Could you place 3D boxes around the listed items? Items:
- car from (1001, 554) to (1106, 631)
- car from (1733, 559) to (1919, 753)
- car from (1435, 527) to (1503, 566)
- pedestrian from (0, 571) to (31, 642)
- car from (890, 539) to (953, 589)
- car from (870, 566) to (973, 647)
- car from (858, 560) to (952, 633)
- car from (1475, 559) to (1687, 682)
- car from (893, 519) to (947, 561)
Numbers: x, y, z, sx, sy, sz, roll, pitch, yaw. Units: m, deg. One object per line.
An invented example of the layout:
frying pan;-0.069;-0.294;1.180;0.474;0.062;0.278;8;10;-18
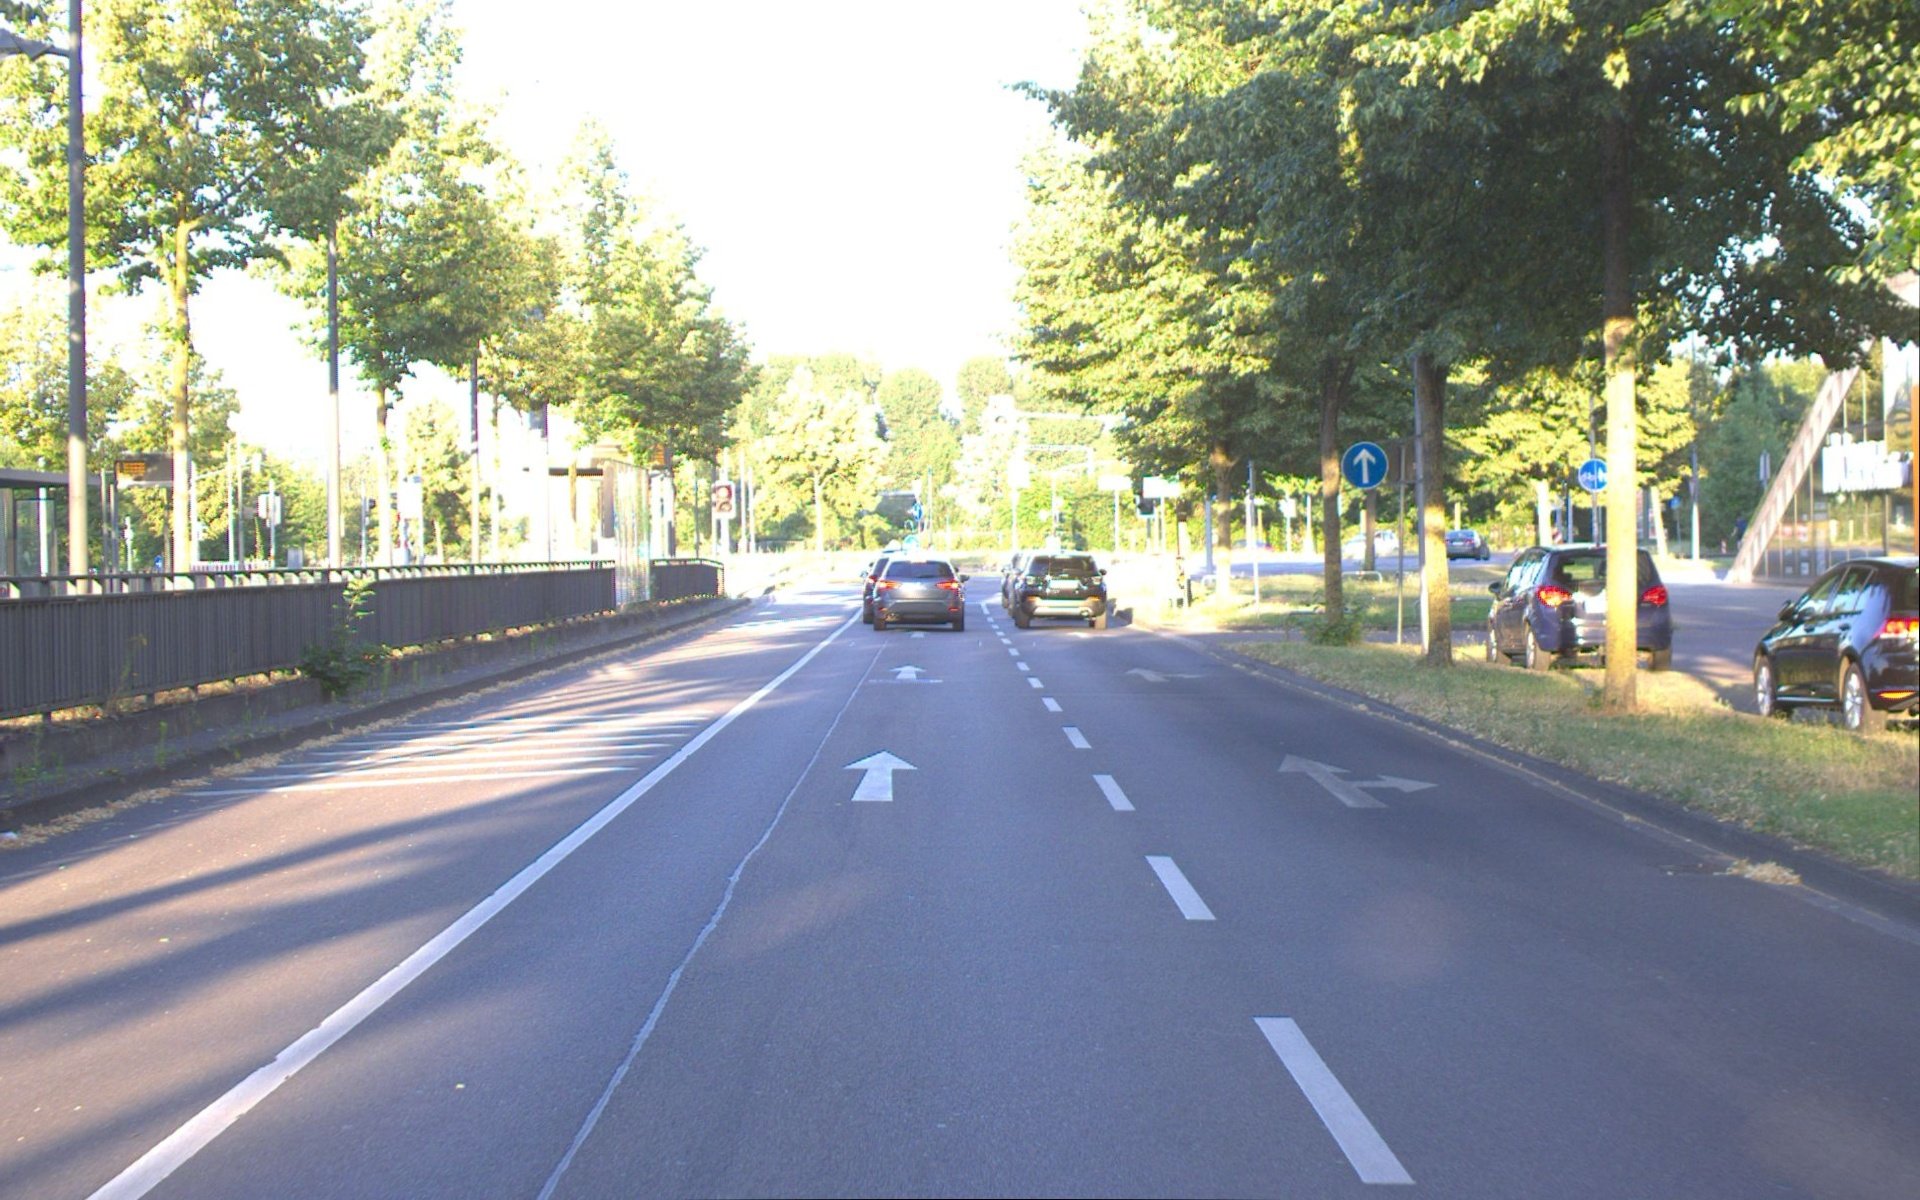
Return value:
car;1.854;-0.178;69.279;1.911;1.481;4.000;0;1;-1
car;7.848;0.400;28.461;1.777;1.467;4.289;-1;1;-2
car;23.536;-2.480;158.825;1.996;1.722;3.995;-1;1;25
pedestrian;-17.763;0.122;64.251;0.614;1.315;0.745;-1;1;-3
car;-1.222;-1.130;107.373;1.911;1.481;4.000;-1;1;-1
car;-0.754;0.099;66.047;1.911;1.481;4.000;-1;1;-1
car;-1.167;-0.097;72.541;1.911;1.481;4.000;-1;1;-1
car;7.820;0.223;43.638;1.756;1.461;4.159;-1;1;-3
car;-1.463;-2.164;124.028;1.911;1.481;4.000;-1;1;-1
